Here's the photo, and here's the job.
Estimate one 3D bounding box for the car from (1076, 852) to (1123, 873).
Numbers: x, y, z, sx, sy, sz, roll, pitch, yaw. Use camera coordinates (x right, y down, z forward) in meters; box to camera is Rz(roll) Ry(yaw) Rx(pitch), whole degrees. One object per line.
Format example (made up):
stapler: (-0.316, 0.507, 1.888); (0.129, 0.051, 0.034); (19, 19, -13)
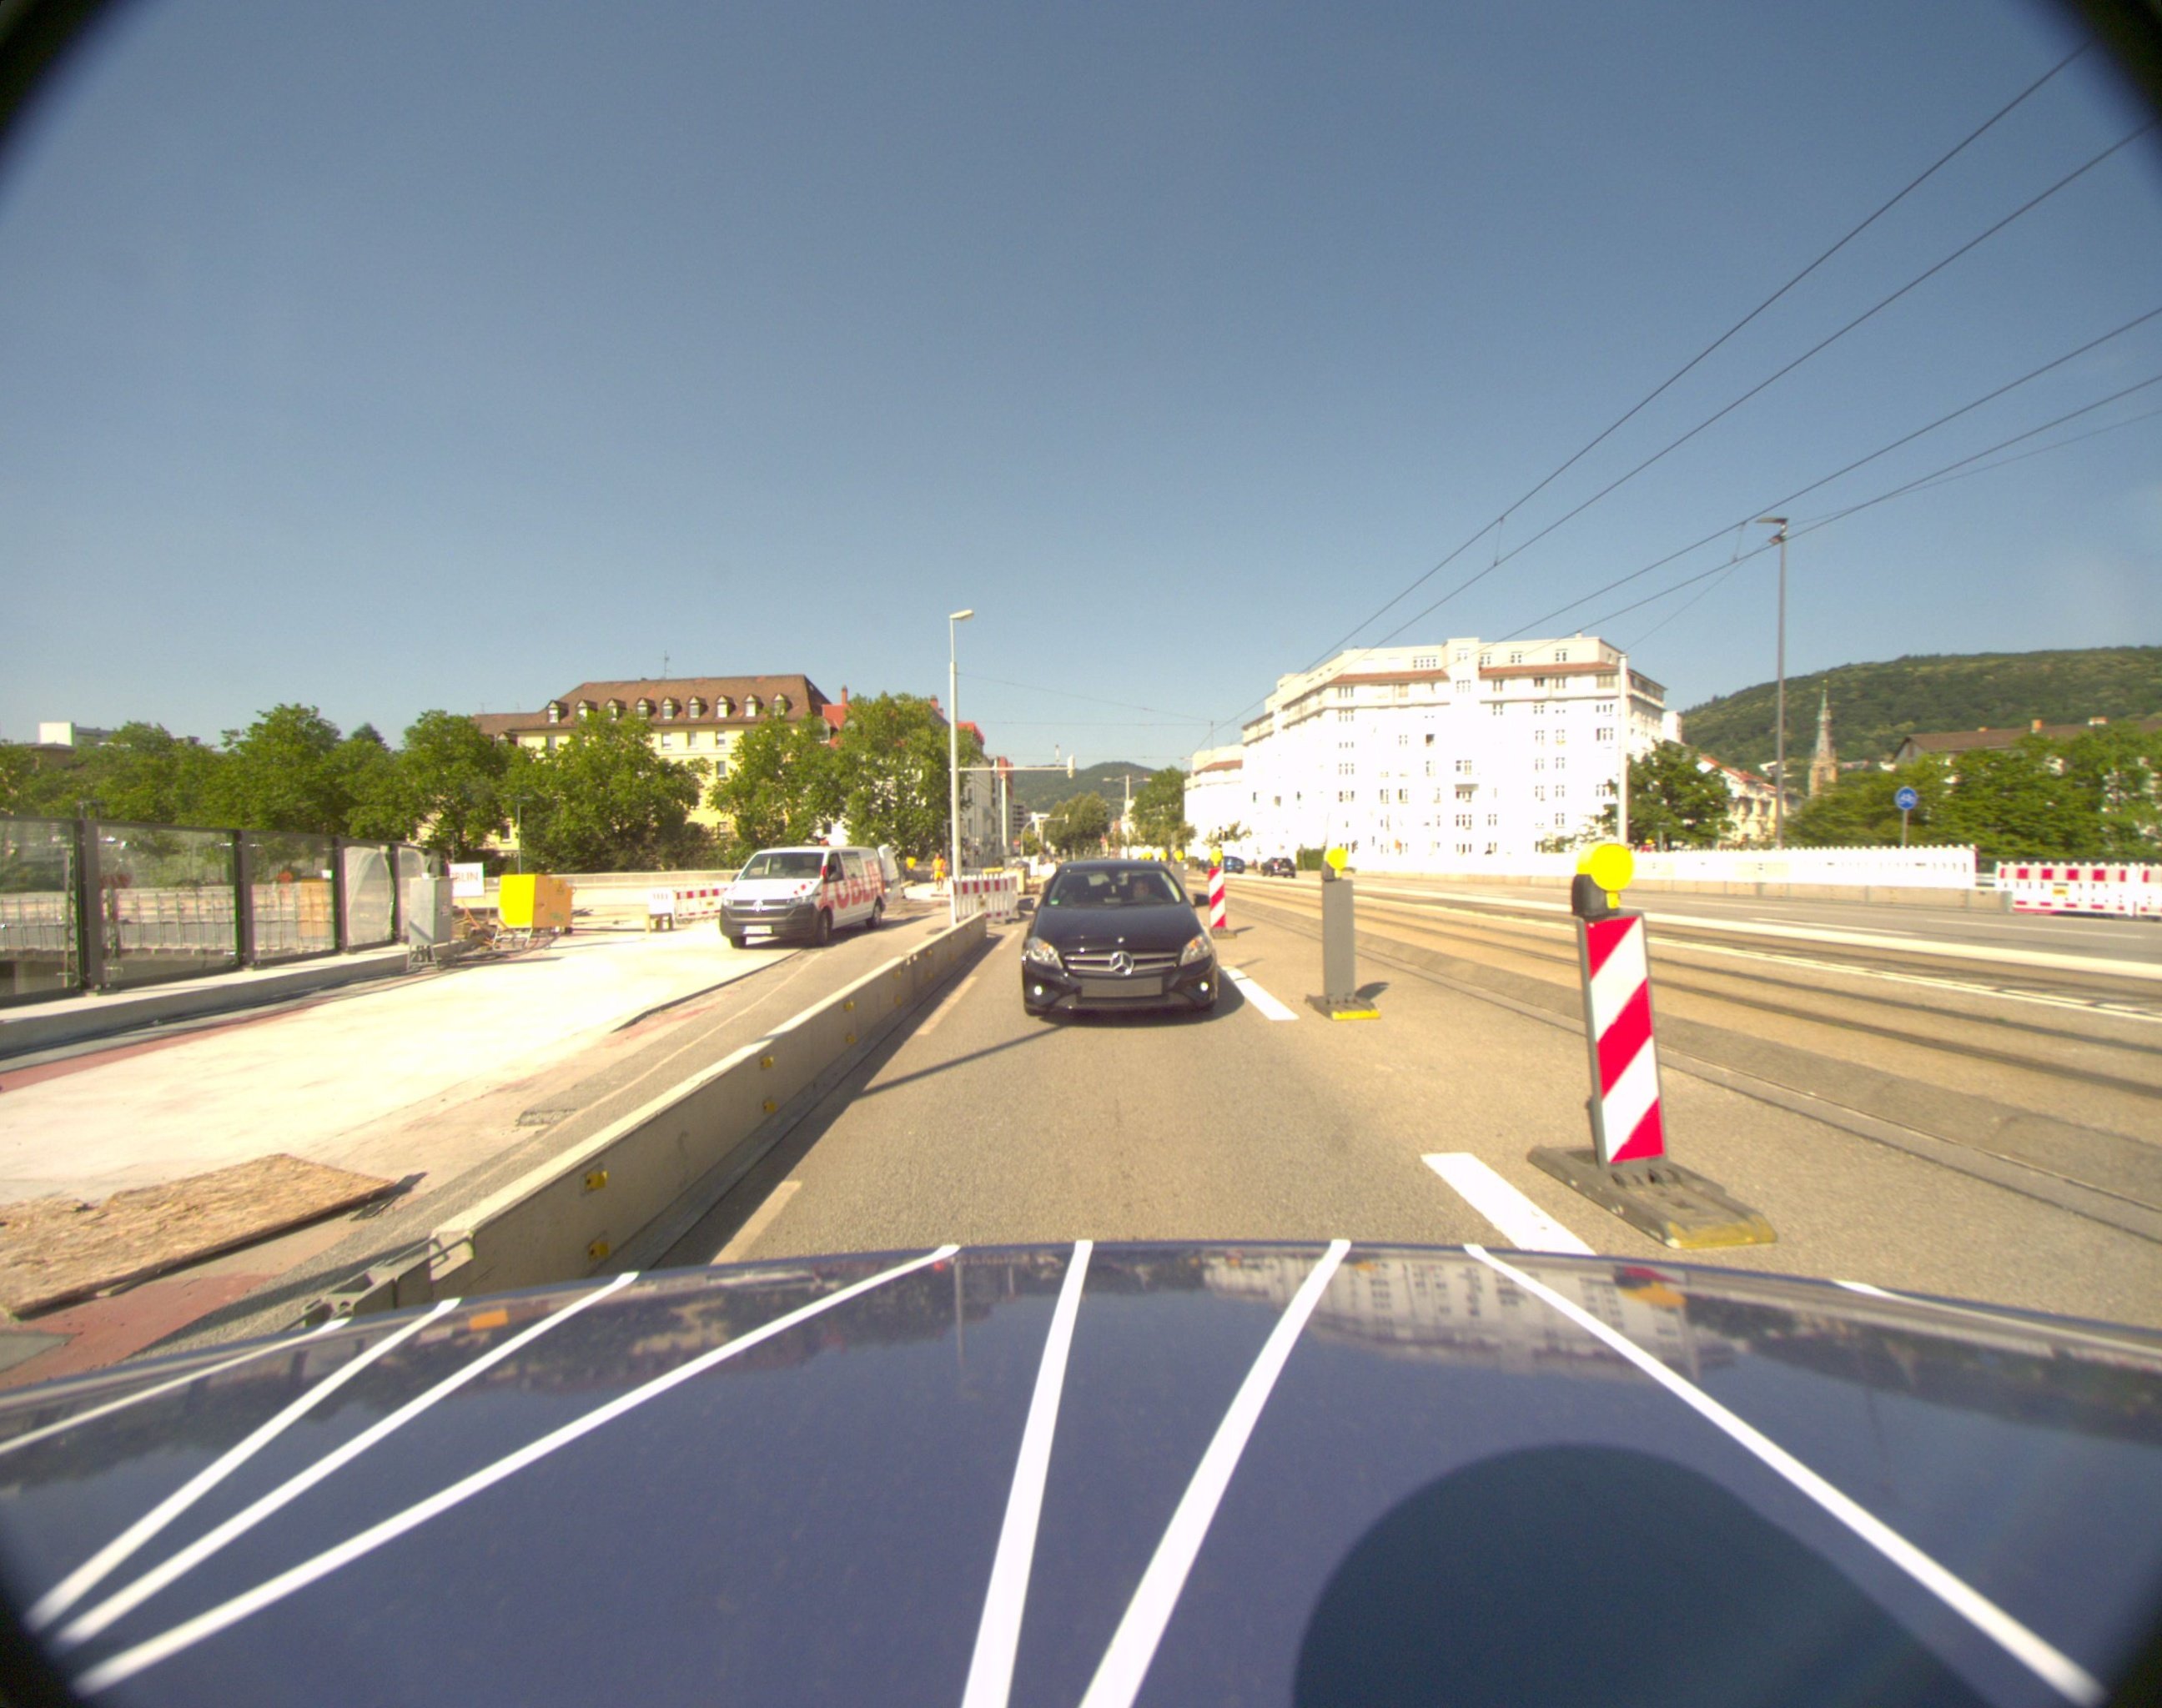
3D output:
car: (1.775, 0.808, 72.279); (3.991, 1.673, 2.003); (-4, -1, 21)

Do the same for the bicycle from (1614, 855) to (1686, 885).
bicycle: (24.959, 0.673, 33.432); (0.858, 1.188, 3.071); (-2, 1, 0)

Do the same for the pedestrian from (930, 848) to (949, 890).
pedestrian: (-6.792, 0.721, 36.525); (0.761, 1.973, 0.843); (0, 2, 1)

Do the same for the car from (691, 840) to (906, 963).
car: (-5.712, 0.783, 16.569); (1.938, 2.078, 6.469); (-1, 1, 3)

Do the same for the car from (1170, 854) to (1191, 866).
car: (12.938, 0.757, 99.025); (2.039, 1.477, 3.998); (0, 1, -3)

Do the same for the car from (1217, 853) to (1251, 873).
car: (12.550, 0.709, 62.468); (2.038, 1.477, 3.999); (-1, 1, 1)

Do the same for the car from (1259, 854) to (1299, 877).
car: (13.371, 0.806, 51.540); (1.801, 1.477, 4.002); (-1, -2, 2)

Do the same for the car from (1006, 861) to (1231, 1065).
car: (0.324, 0.874, 8.096); (1.698, 1.388, 4.362); (-2, 1, 1)

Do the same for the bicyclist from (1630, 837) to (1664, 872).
bicyclist: (24.936, 0.012, 33.480); (0.858, 1.510, 0.817); (-2, 1, 0)
